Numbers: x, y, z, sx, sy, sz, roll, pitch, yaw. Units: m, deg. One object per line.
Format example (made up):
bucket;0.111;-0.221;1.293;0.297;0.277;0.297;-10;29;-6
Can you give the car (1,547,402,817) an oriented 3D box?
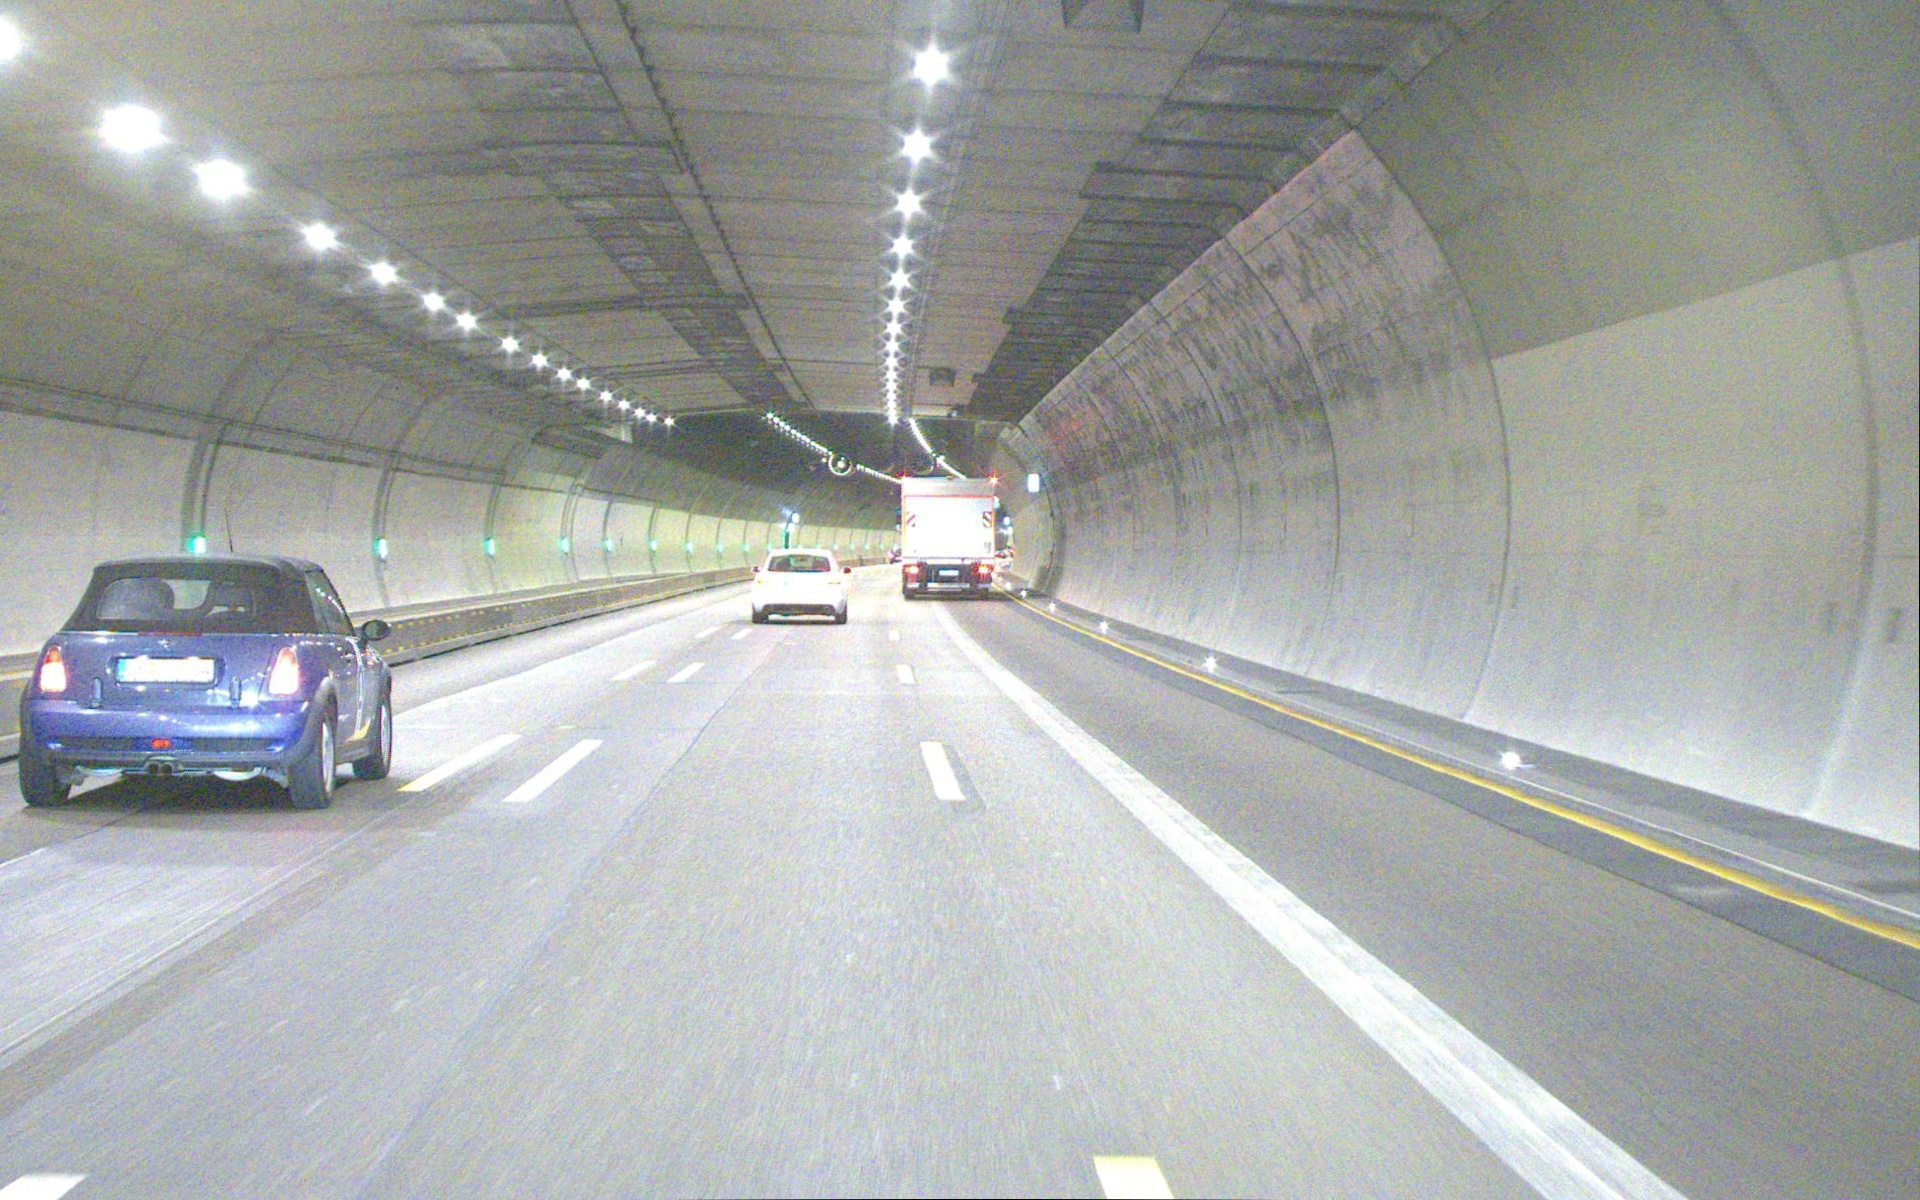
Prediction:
car;-4.357;0.408;20.267;1.689;1.412;3.923;0;1;-3

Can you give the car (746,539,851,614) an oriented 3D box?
car;-3.214;-0.488;67.854;1.993;1.408;4.743;0;1;-3

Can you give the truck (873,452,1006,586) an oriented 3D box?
truck;-0.553;-2.327;99.152;3.592;3.638;10.723;0;1;0
